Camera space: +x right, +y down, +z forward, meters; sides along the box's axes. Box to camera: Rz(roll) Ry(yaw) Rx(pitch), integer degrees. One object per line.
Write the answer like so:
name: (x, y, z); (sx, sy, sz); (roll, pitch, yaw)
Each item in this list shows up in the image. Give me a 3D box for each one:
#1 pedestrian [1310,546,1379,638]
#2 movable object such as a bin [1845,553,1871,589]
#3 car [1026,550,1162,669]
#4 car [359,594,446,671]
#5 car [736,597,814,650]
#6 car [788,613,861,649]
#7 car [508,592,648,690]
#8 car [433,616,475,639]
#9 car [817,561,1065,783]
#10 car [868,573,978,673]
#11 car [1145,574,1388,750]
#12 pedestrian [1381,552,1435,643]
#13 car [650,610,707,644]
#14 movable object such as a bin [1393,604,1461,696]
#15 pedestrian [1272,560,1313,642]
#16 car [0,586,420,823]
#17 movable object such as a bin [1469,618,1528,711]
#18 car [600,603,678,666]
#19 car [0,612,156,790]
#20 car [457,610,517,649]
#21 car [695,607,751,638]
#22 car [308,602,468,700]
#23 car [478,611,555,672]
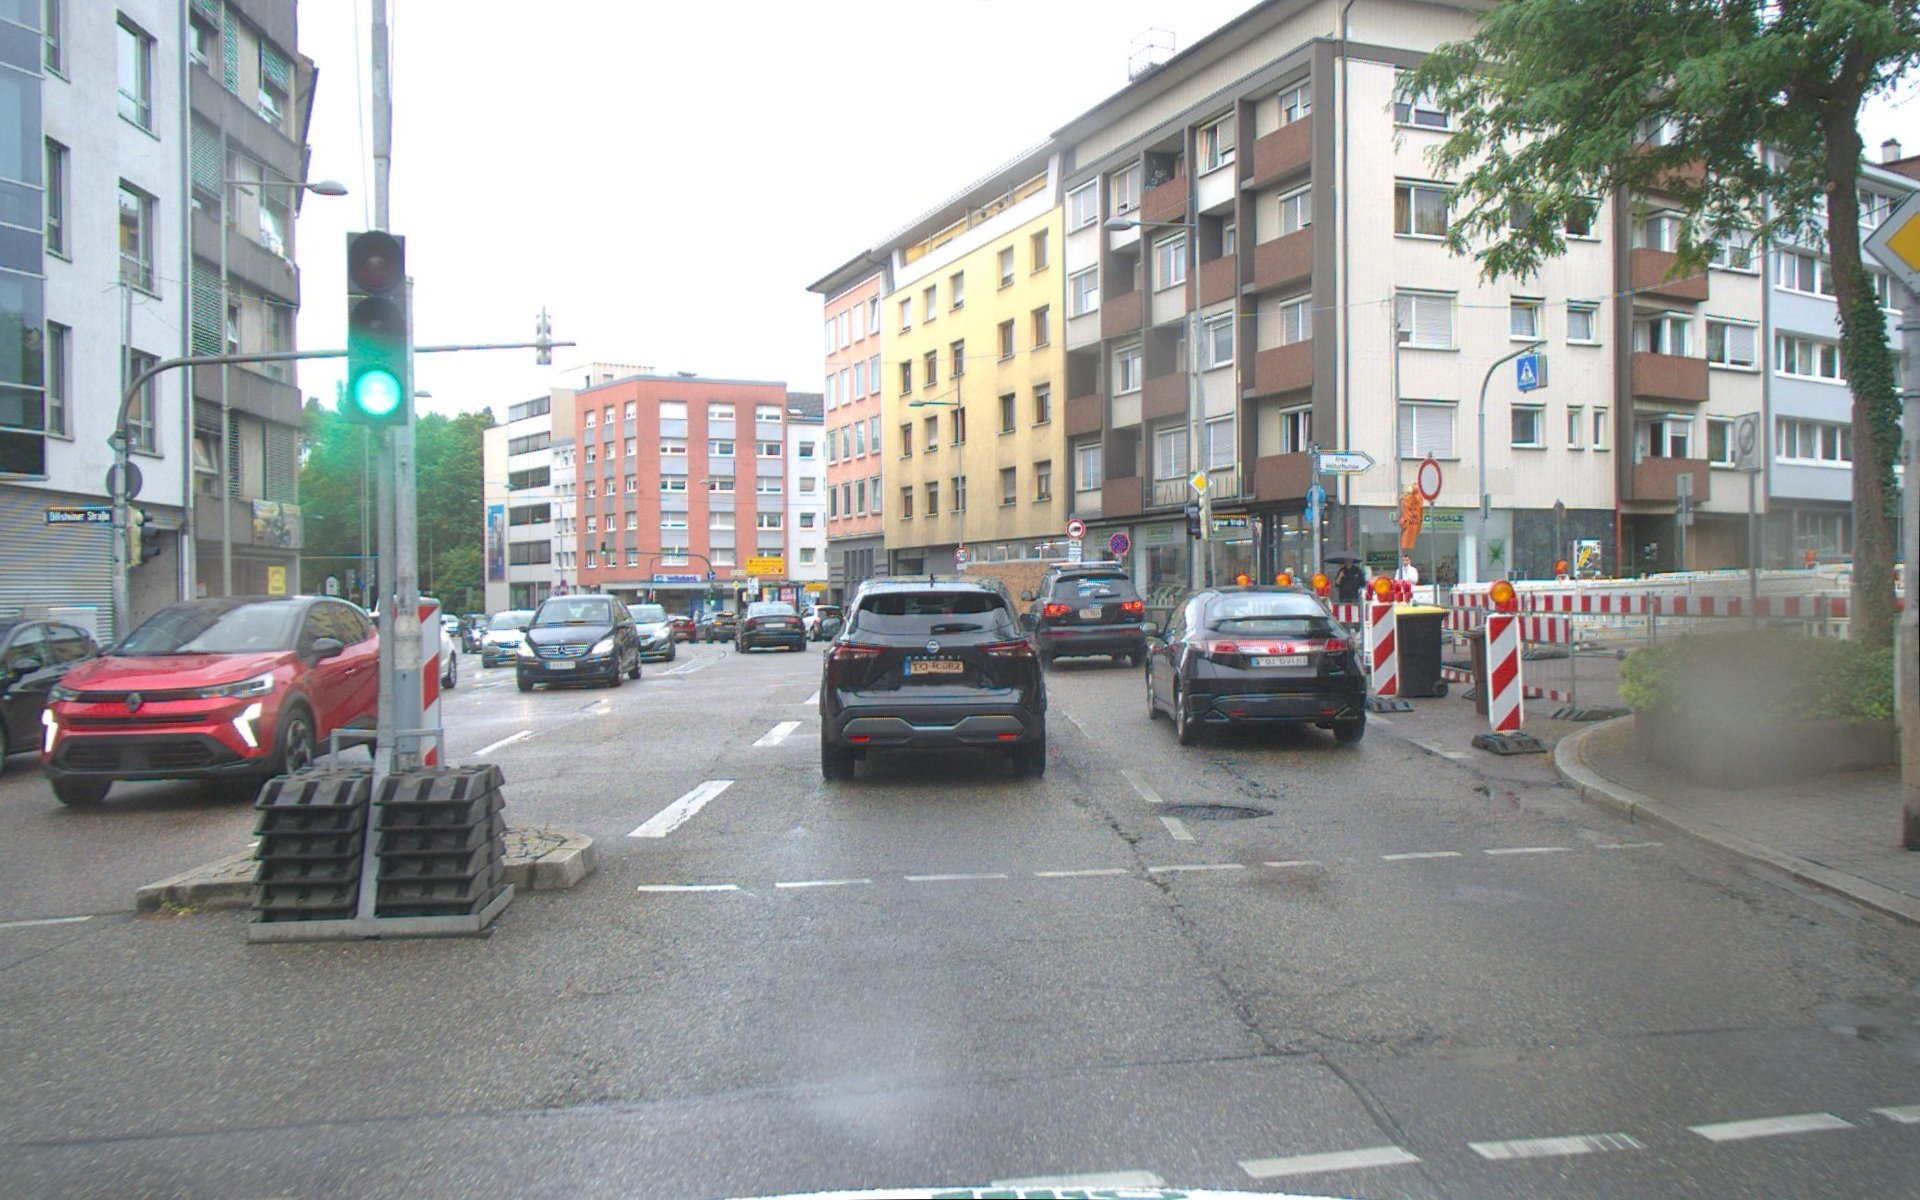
pedestrian: (8.218, -0.174, 35.342); (0.912, 1.893, 1.015); (-1, -3, -44)
movable object such as a bin: (27.543, -0.891, 50.713); (0.532, 1.066, 0.525); (2, -1, -33)
car: (2.307, 0.147, 29.761); (1.980, 1.902, 4.899); (-2, 0, 0)
car: (-16.006, 0.977, 47.734); (2.084, 2.050, 5.105); (2, -2, -16)
car: (-5.351, 0.660, 47.422); (1.957, 1.412, 4.489); (1, -1, -10)
car: (-5.878, 1.318, 71.311); (1.967, 1.512, 3.971); (1, -1, -23)
car: (-6.749, 0.675, 29.663); (1.794, 1.570, 4.280); (-2, 0, -5)
car: (-35.947, 1.951, 117.438); (1.915, 1.553, 4.090); (-1, -1, -31)
car: (-0.222, 0.539, 14.373); (1.856, 1.657, 3.998); (0, 0, -2)
car: (-0.643, 0.415, 31.948); (1.906, 1.714, 4.000); (-3, 0, 1)
car: (2.942, 0.520, 16.675); (1.747, 1.523, 4.057); (-1, 1, 1)
pedestrian: (9.667, -0.063, 35.694); (0.646, 1.912, 0.987); (-4, -2, 42)
car: (-13.798, 1.306, 80.908); (1.965, 1.557, 3.974); (1, -1, -21)
movable object such as a bin: (5.608, 0.592, 19.877); (0.608, 1.049, 0.531); (-2, 1, -4)
pedestrian: (7.190, 0.027, 35.777); (0.775, 1.717, 0.822); (-3, -2, 12)
car: (-6.013, 0.734, 13.787); (1.810, 1.622, 4.088); (-2, 0, -3)
movable object such as a bin: (5.786, 0.685, 17.785); (0.411, 0.945, 0.531); (-2, 1, -4)
car: (-8.331, 0.860, 43.188); (1.819, 1.500, 4.637); (-2, 0, -10)
car: (-9.310, 0.915, 15.400); (1.810, 1.523, 3.998); (-2, 0, -3)
car: (-18.849, 1.180, 65.804); (1.700, 1.424, 3.566); (-3, 0, -25)
car: (-12.359, 1.186, 86.203); (1.966, 1.546, 3.973); (1, -1, -22)
car: (-10.019, 0.833, 29.275); (1.738, 1.550, 4.278); (-2, 0, -6)
car: (-12.497, 1.138, 46.849); (1.896, 1.499, 4.587); (-4, 0, -13)
